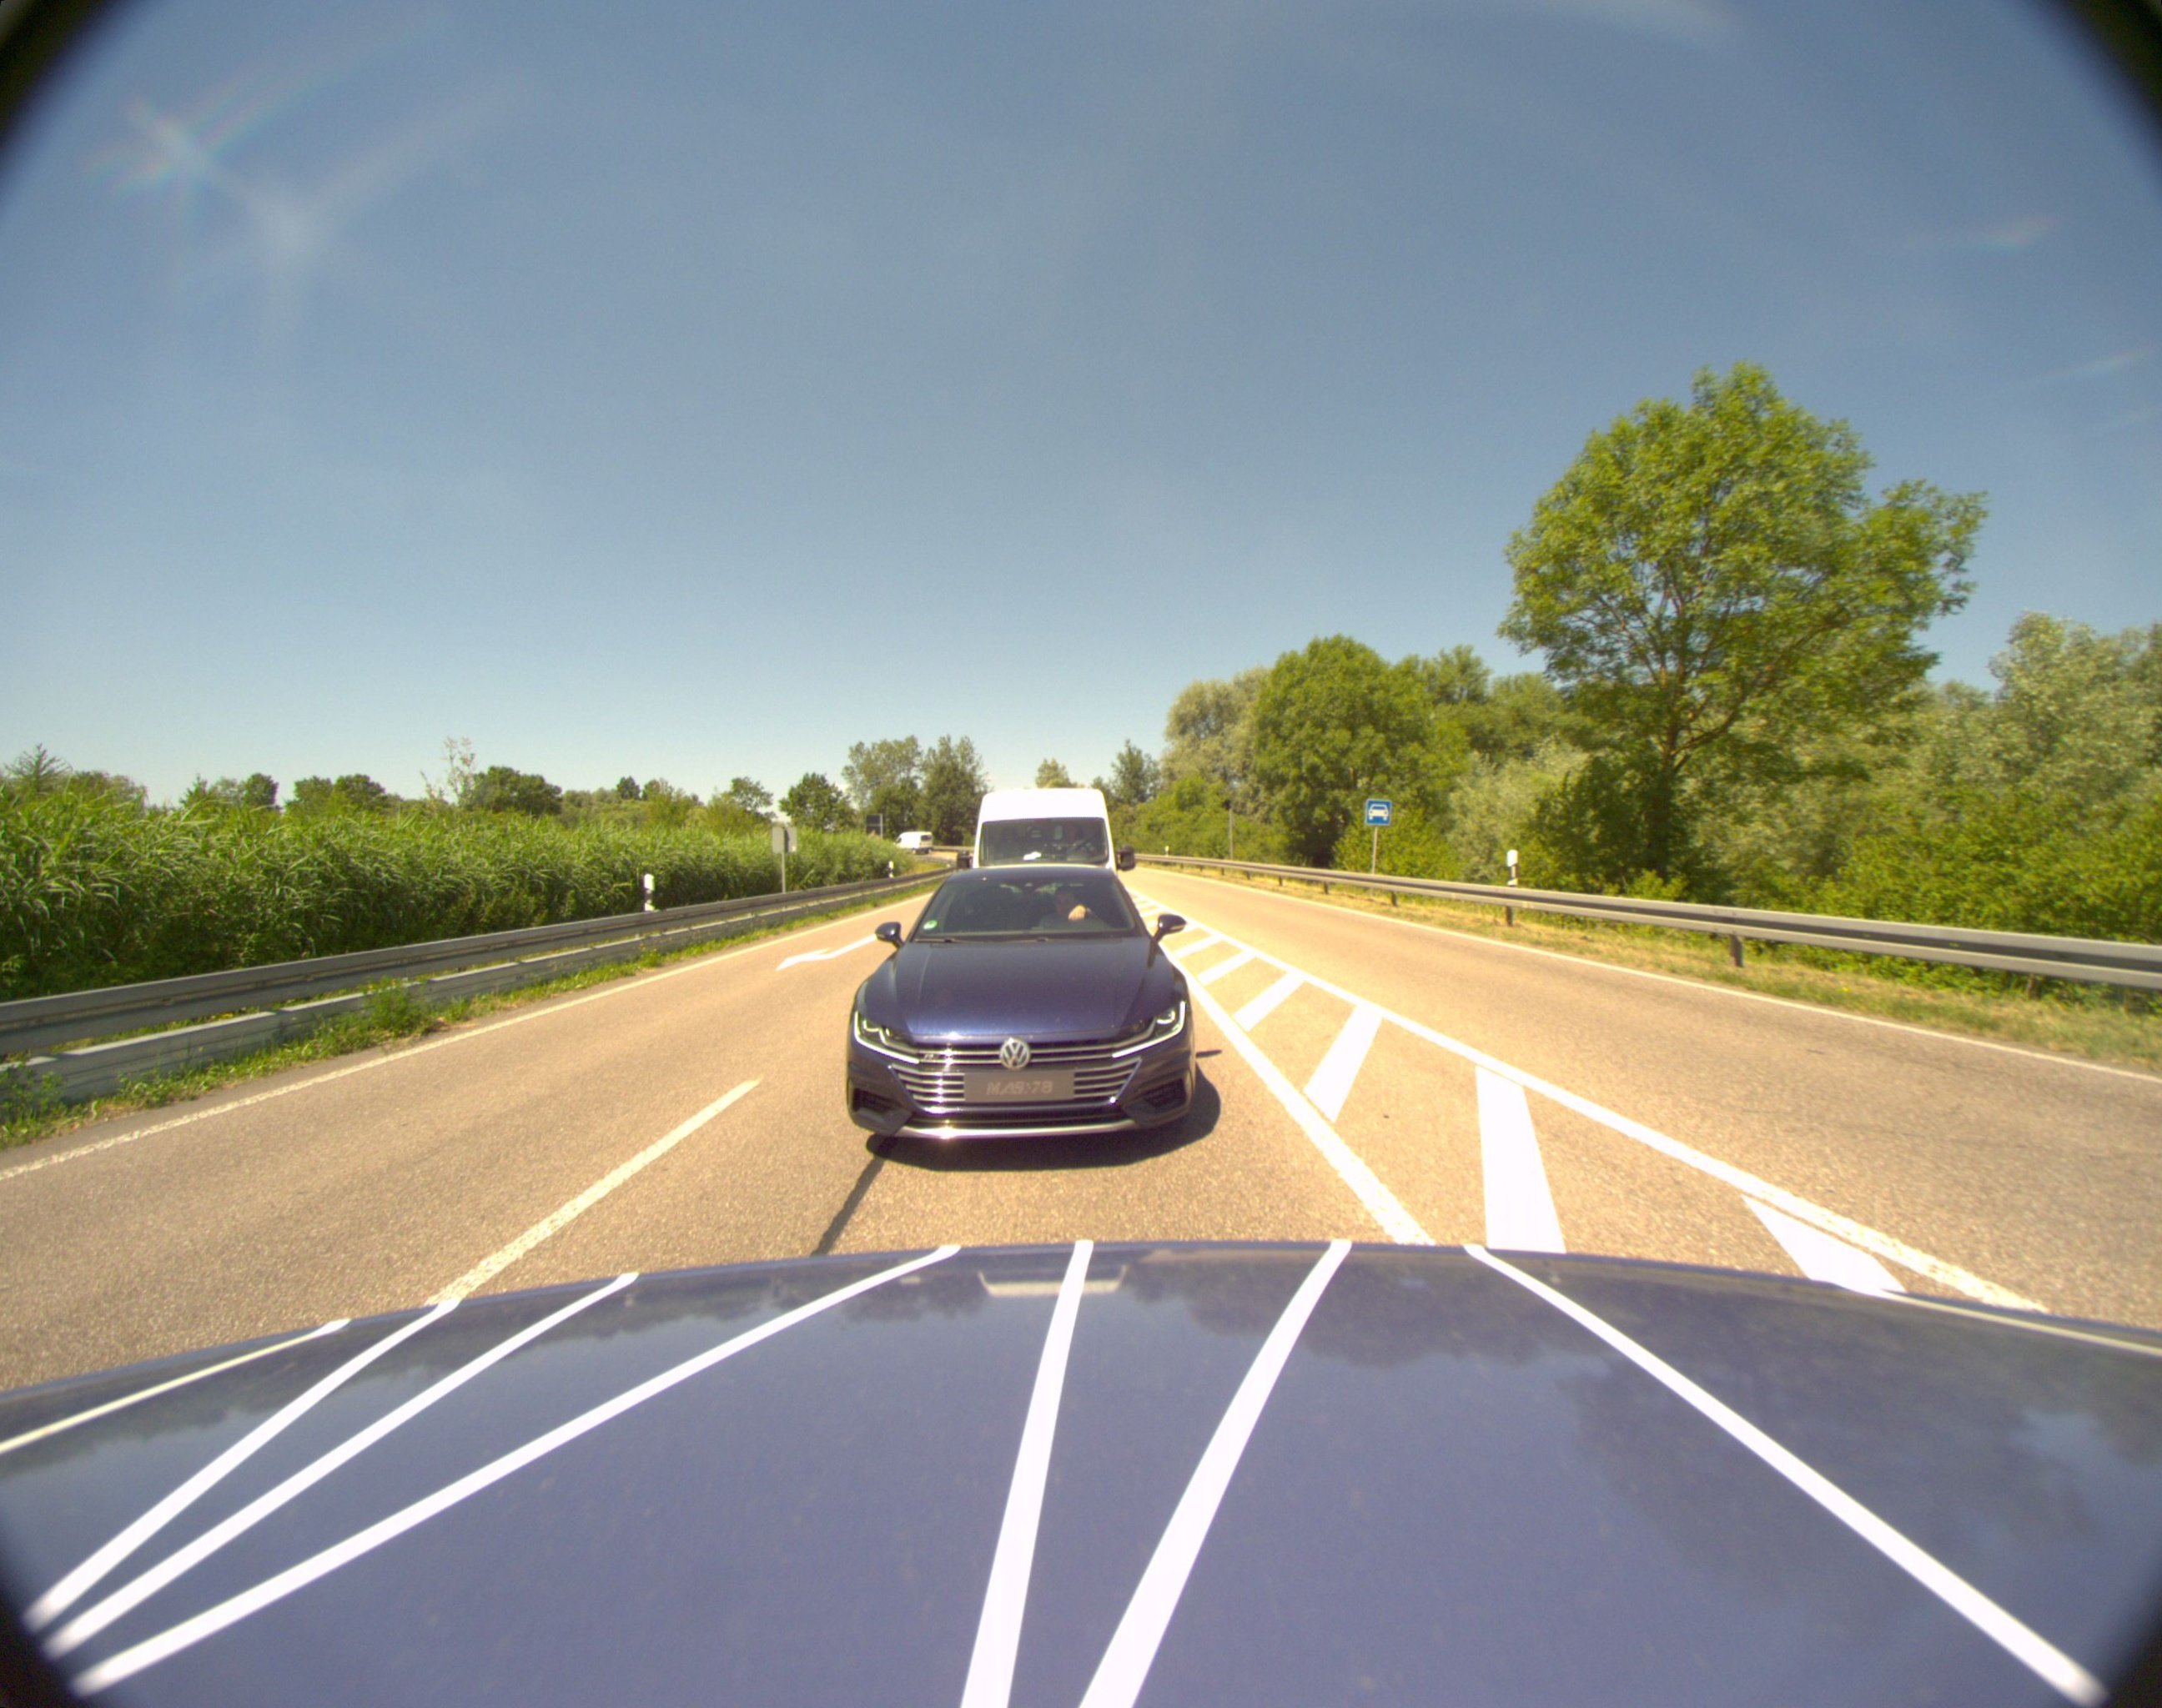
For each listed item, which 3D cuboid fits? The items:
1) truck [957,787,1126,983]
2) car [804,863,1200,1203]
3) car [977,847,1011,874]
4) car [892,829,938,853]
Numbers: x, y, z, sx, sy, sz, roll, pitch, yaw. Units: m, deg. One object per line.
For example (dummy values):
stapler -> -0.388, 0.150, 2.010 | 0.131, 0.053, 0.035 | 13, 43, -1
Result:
truck -> -0.661, 0.346, 12.304 | 2.011, 2.365, 5.909 | -2, 1, -4
car -> -0.341, 0.868, 5.769 | 1.819, 1.454, 4.415 | -2, 1, 1
car -> -5.495, 0.362, 47.920 | 1.674, 1.591, 3.549 | -2, 1, -13
car -> -18.982, -1.433, 86.926 | 5.574, 2.404, 2.003 | -1, 5, 42
